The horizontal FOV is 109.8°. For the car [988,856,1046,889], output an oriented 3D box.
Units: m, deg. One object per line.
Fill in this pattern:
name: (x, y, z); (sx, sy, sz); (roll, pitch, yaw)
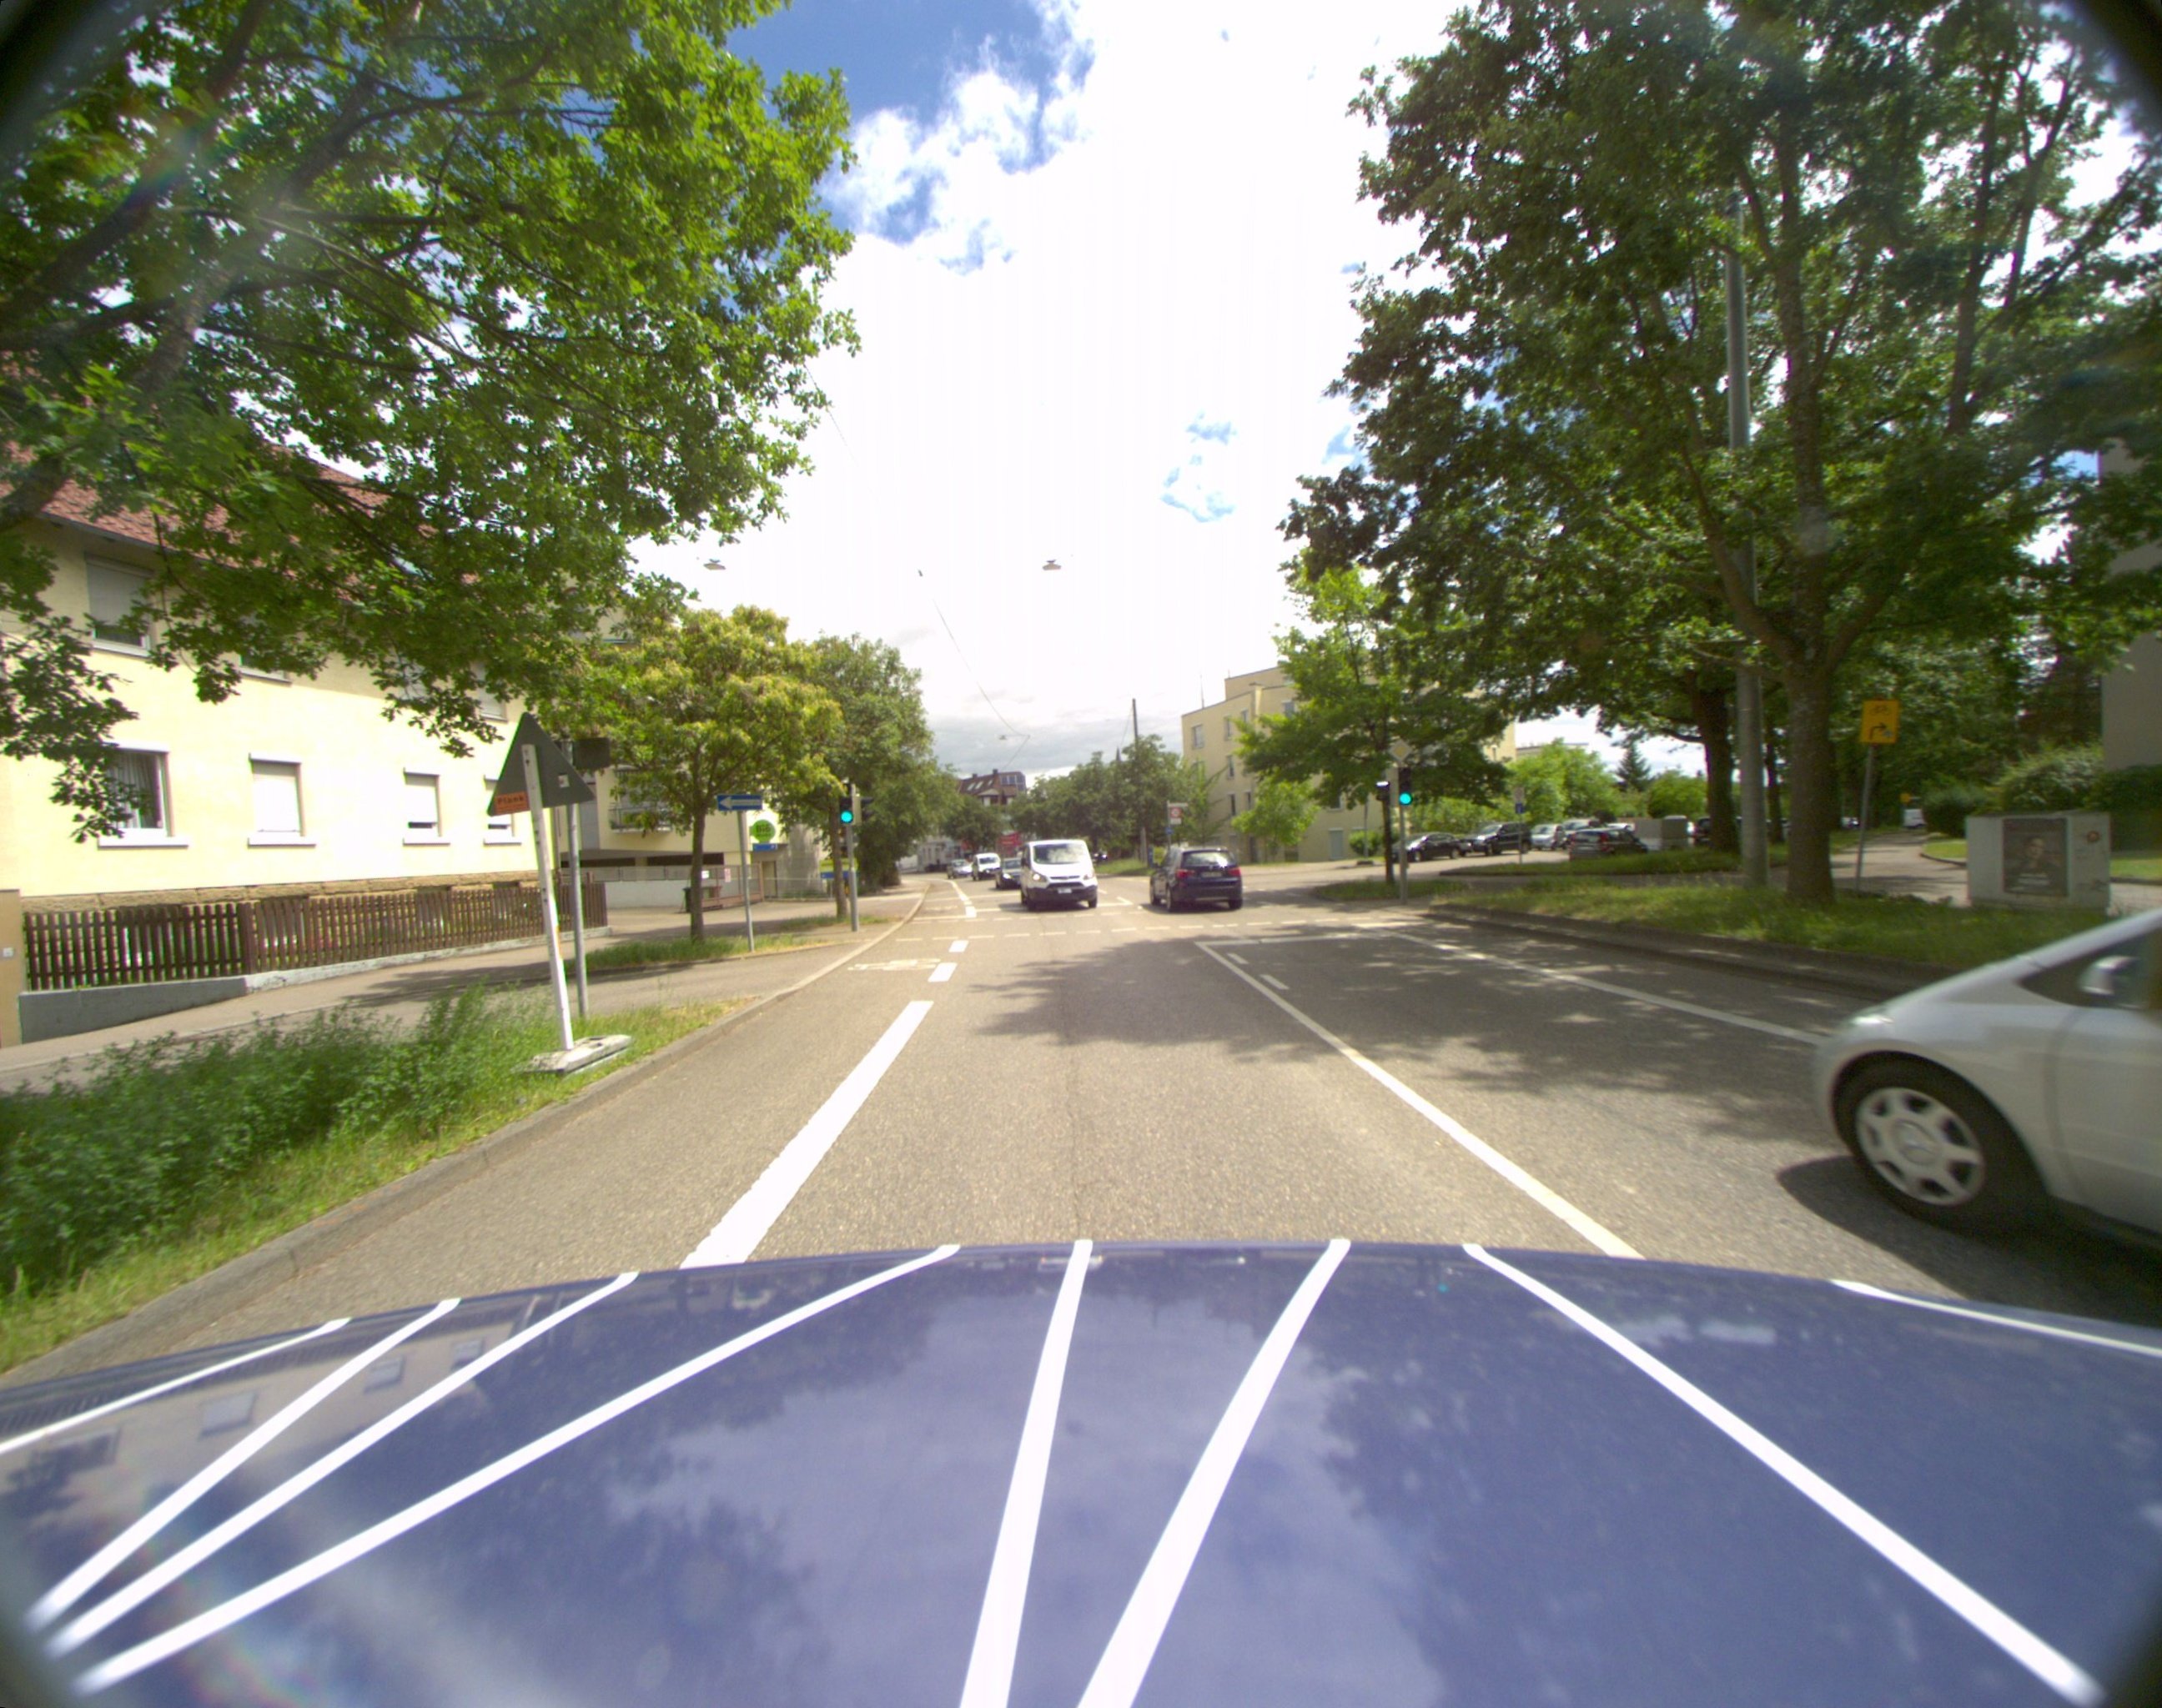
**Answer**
car: (-3.095, 0.842, 35.956); (1.842, 1.382, 3.995); (-3, 0, -17)

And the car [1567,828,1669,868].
car: (22.311, -0.290, 31.533); (4.004, 1.444, 1.693); (-3, 2, -25)

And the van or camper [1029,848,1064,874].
van or camper: (-2.612, 0.506, 56.232); (1.867, 1.766, 4.376); (-3, 1, -11)

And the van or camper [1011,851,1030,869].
van or camper: (-7.469, 0.709, 93.424); (1.795, 2.077, 3.807); (-6, 2, -11)

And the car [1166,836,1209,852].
car: (9.983, -0.917, 71.008); (4.008, 1.411, 1.789); (-1, -1, -42)

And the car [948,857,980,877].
car: (-9.926, 1.094, 64.411); (1.695, 1.478, 3.993); (-6, 2, -22)

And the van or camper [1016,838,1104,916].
van or camper: (-0.768, 0.617, 22.996); (2.028, 2.002, 5.099); (-3, 0, -7)

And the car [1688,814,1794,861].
car: (27.259, -0.675, 31.375); (4.005, 1.833, 1.842); (-1, 0, -25)

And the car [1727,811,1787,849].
car: (38.161, -1.359, 42.887); (4.005, 1.725, 1.651); (-7, 2, -36)

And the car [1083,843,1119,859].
car: (2.384, -0.380, 92.041); (3.980, 1.672, 1.715); (-4, 2, -17)

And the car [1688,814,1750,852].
car: (33.900, -1.124, 40.324); (2.121, 1.783, 4.426); (-2, 1, 45)

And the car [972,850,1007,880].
car: (-6.366, 0.695, 52.591); (1.853, 1.806, 3.995); (-6, 2, -13)

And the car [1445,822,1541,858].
car: (22.419, -0.773, 41.320); (4.797, 1.594, 2.097); (-5, 3, -25)

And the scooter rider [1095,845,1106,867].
scooter rider: (1.816, 0.173, 71.120); (0.679, 2.002, 0.793); (-6, 2, -13)

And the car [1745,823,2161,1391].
car: (3.960, 0.724, 1.544); (1.712, 1.608, 4.000); (-3, 0, 1)

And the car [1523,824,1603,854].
car: (27.808, -0.840, 43.811); (4.003, 1.325, 1.970); (-6, 2, -24)

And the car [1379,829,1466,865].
car: (17.618, -0.366, 39.156); (4.156, 1.390, 1.734); (-6, 2, -25)
